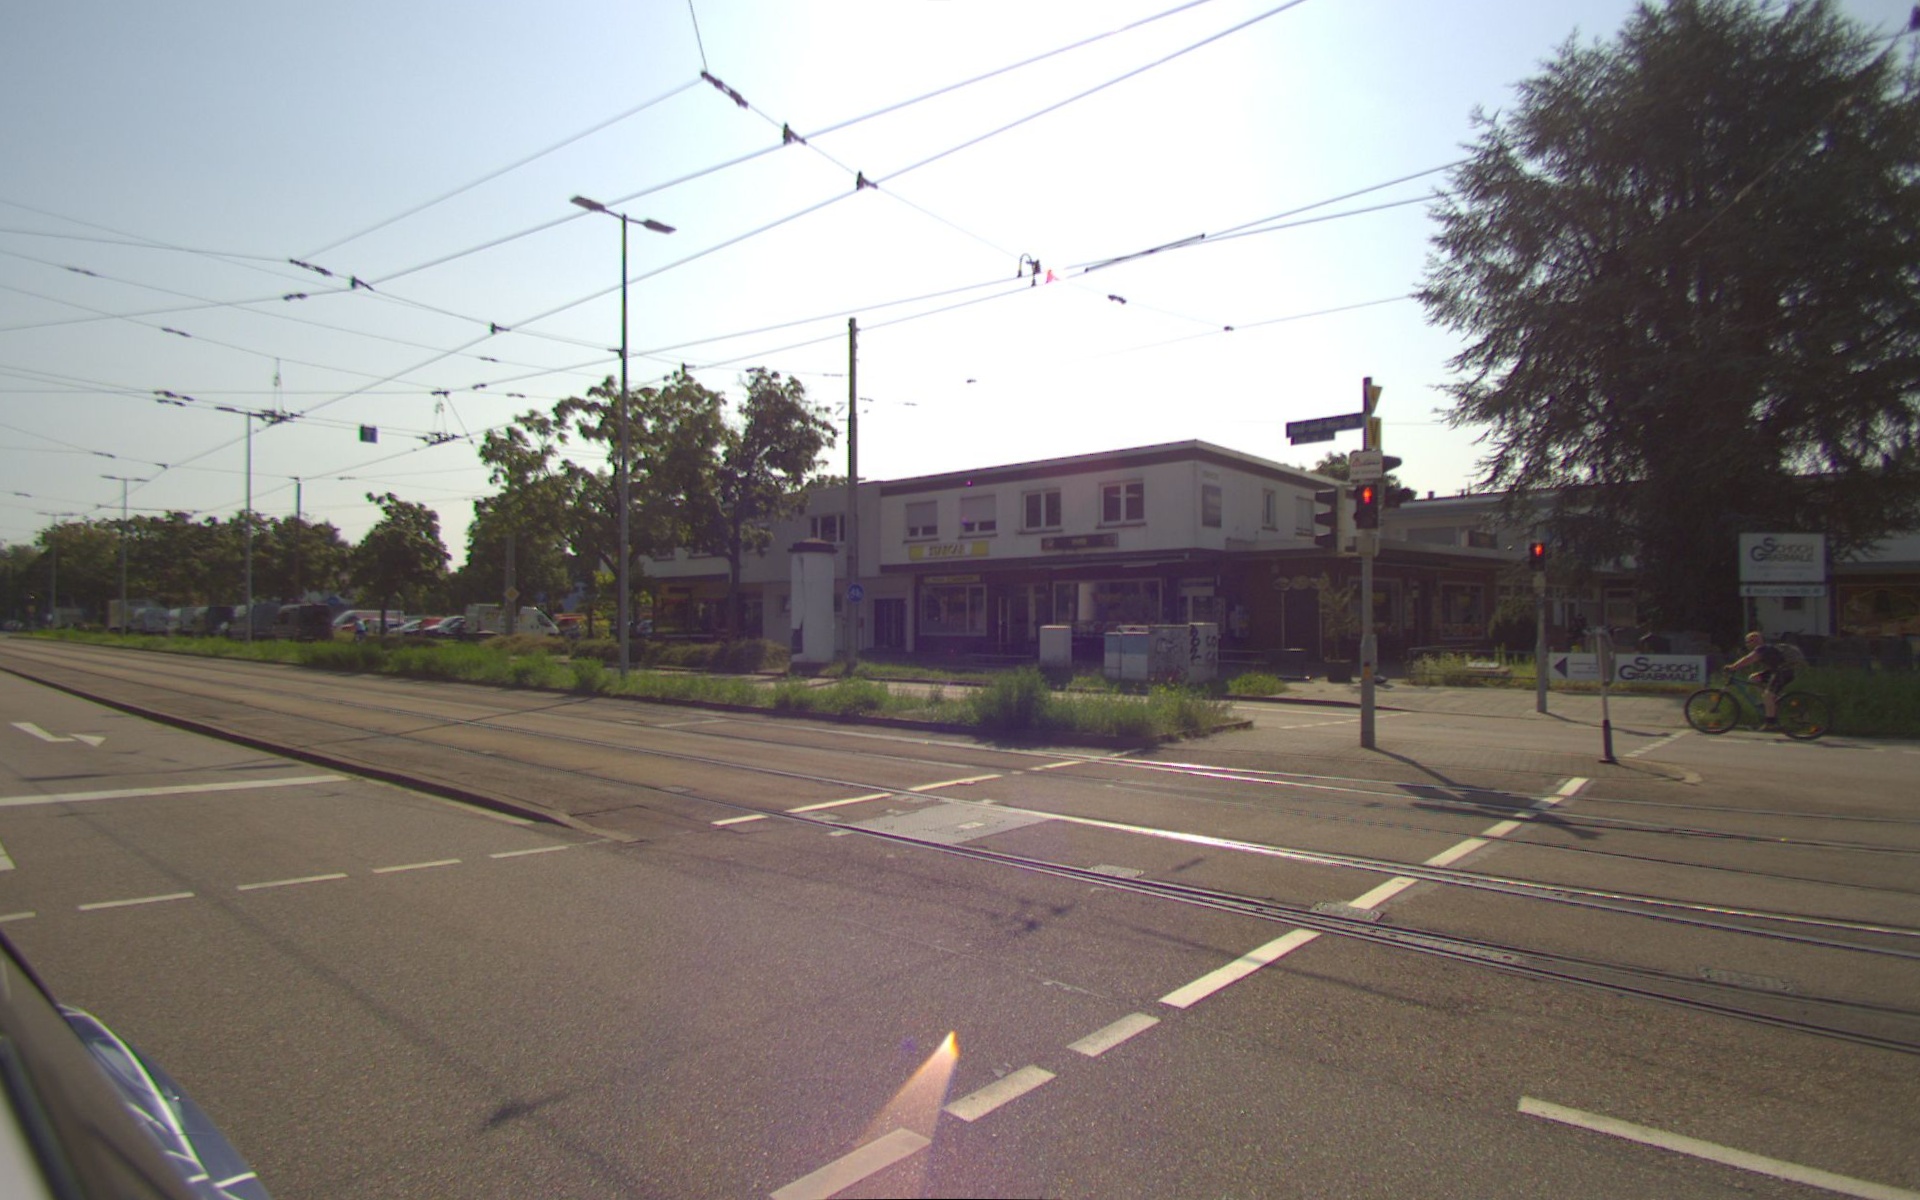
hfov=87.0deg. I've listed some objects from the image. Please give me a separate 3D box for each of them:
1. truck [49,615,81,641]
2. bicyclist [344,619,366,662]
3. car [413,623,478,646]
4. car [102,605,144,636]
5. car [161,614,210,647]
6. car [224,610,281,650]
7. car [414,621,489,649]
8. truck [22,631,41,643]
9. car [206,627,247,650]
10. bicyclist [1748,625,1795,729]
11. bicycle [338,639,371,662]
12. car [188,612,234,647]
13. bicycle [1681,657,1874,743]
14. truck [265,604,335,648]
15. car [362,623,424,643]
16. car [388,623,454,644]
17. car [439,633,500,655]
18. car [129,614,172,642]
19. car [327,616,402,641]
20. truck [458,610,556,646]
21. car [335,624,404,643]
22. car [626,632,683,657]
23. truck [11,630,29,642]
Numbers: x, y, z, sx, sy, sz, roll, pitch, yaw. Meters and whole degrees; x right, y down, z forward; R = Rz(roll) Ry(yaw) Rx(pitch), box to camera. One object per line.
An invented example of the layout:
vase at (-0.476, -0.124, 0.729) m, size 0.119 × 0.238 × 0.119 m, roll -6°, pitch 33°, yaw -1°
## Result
truck at (-112.911, 3.563, 127.643) m, size 8.790 × 3.145 × 2.247 m, roll -1°, pitch -4°, yaw 45°
bicyclist at (-29.953, 2.000, 50.112) m, size 0.774 × 2.080 × 0.630 m, roll -1°, pitch -4°, yaw 41°
car at (-37.319, 2.495, 73.460) m, size 1.632 × 1.530 × 3.882 m, roll -1°, pitch -4°, yaw 40°
car at (-81.290, 2.005, 98.267) m, size 7.230 × 2.826 × 2.101 m, roll -1°, pitch -4°, yaw 43°
car at (-63.193, 2.471, 82.539) m, size 5.630 × 2.606 × 2.109 m, roll -1°, pitch -4°, yaw 43°
car at (-48.114, 2.008, 68.738) m, size 6.468 × 2.606 × 1.966 m, roll -1°, pitch -1°, yaw 44°
car at (-35.767, 2.478, 71.235) m, size 1.632 × 1.798 × 4.353 m, roll -1°, pitch -4°, yaw 40°
truck at (-135.652, 5.346, 147.841) m, size 3.655 × 1.687 × 1.669 m, roll -1°, pitch -4°, yaw 42°
car at (-52.702, 2.743, 72.688) m, size 3.835 × 1.564 × 1.725 m, roll -1°, pitch -2°, yaw 45°
bicyclist at (12.300, 1.148, 15.338) m, size 0.490 × 1.534 × 0.562 m, roll -1°, pitch -4°, yaw 43°
bicycle at (-29.989, 2.489, 50.097) m, size 2.264 × 1.099 × 0.707 m, roll -1°, pitch -4°, yaw 41°
car at (-57.073, 2.248, 77.114) m, size 5.910 × 2.606 × 1.802 m, roll -2°, pitch -1°, yaw 43°
bicycle at (12.314, 1.471, 15.310) m, size 2.208 × 1.188 × 0.568 m, roll -2°, pitch -4°, yaw 44°
truck at (-40.551, 1.609, 62.107) m, size 5.737 × 2.567 × 2.059 m, roll -1°, pitch -4°, yaw 42°
car at (-45.063, 2.657, 80.478) m, size 1.632 × 1.461 × 3.882 m, roll -1°, pitch -4°, yaw 40°
car at (-40.473, 2.507, 76.035) m, size 4.107 × 1.474 × 1.626 m, roll 3°, pitch -3°, yaw -43°
car at (-33.544, 2.997, 69.304) m, size 1.632 × 1.437 × 3.369 m, roll -1°, pitch -4°, yaw 40°
car at (-73.767, 2.536, 92.247) m, size 4.829 × 2.477 × 2.120 m, roll -1°, pitch -4°, yaw 41°
car at (-50.731, 2.446, 86.315) m, size 2.051 × 1.940 × 5.131 m, roll -1°, pitch -4°, yaw 40°
truck at (-29.682, 1.859, 66.456) m, size 2.258 × 2.189 × 5.433 m, roll -1°, pitch -4°, yaw 40°
car at (-48.899, 2.769, 83.873) m, size 1.632 × 1.461 × 4.605 m, roll -1°, pitch -4°, yaw 40°
car at (-23.489, 3.430, 77.850) m, size 3.757 × 1.782 × 1.760 m, roll 4°, pitch -4°, yaw -43°
truck at (-143.321, 5.467, 154.352) m, size 3.655 × 1.687 × 1.669 m, roll -1°, pitch -4°, yaw 42°
